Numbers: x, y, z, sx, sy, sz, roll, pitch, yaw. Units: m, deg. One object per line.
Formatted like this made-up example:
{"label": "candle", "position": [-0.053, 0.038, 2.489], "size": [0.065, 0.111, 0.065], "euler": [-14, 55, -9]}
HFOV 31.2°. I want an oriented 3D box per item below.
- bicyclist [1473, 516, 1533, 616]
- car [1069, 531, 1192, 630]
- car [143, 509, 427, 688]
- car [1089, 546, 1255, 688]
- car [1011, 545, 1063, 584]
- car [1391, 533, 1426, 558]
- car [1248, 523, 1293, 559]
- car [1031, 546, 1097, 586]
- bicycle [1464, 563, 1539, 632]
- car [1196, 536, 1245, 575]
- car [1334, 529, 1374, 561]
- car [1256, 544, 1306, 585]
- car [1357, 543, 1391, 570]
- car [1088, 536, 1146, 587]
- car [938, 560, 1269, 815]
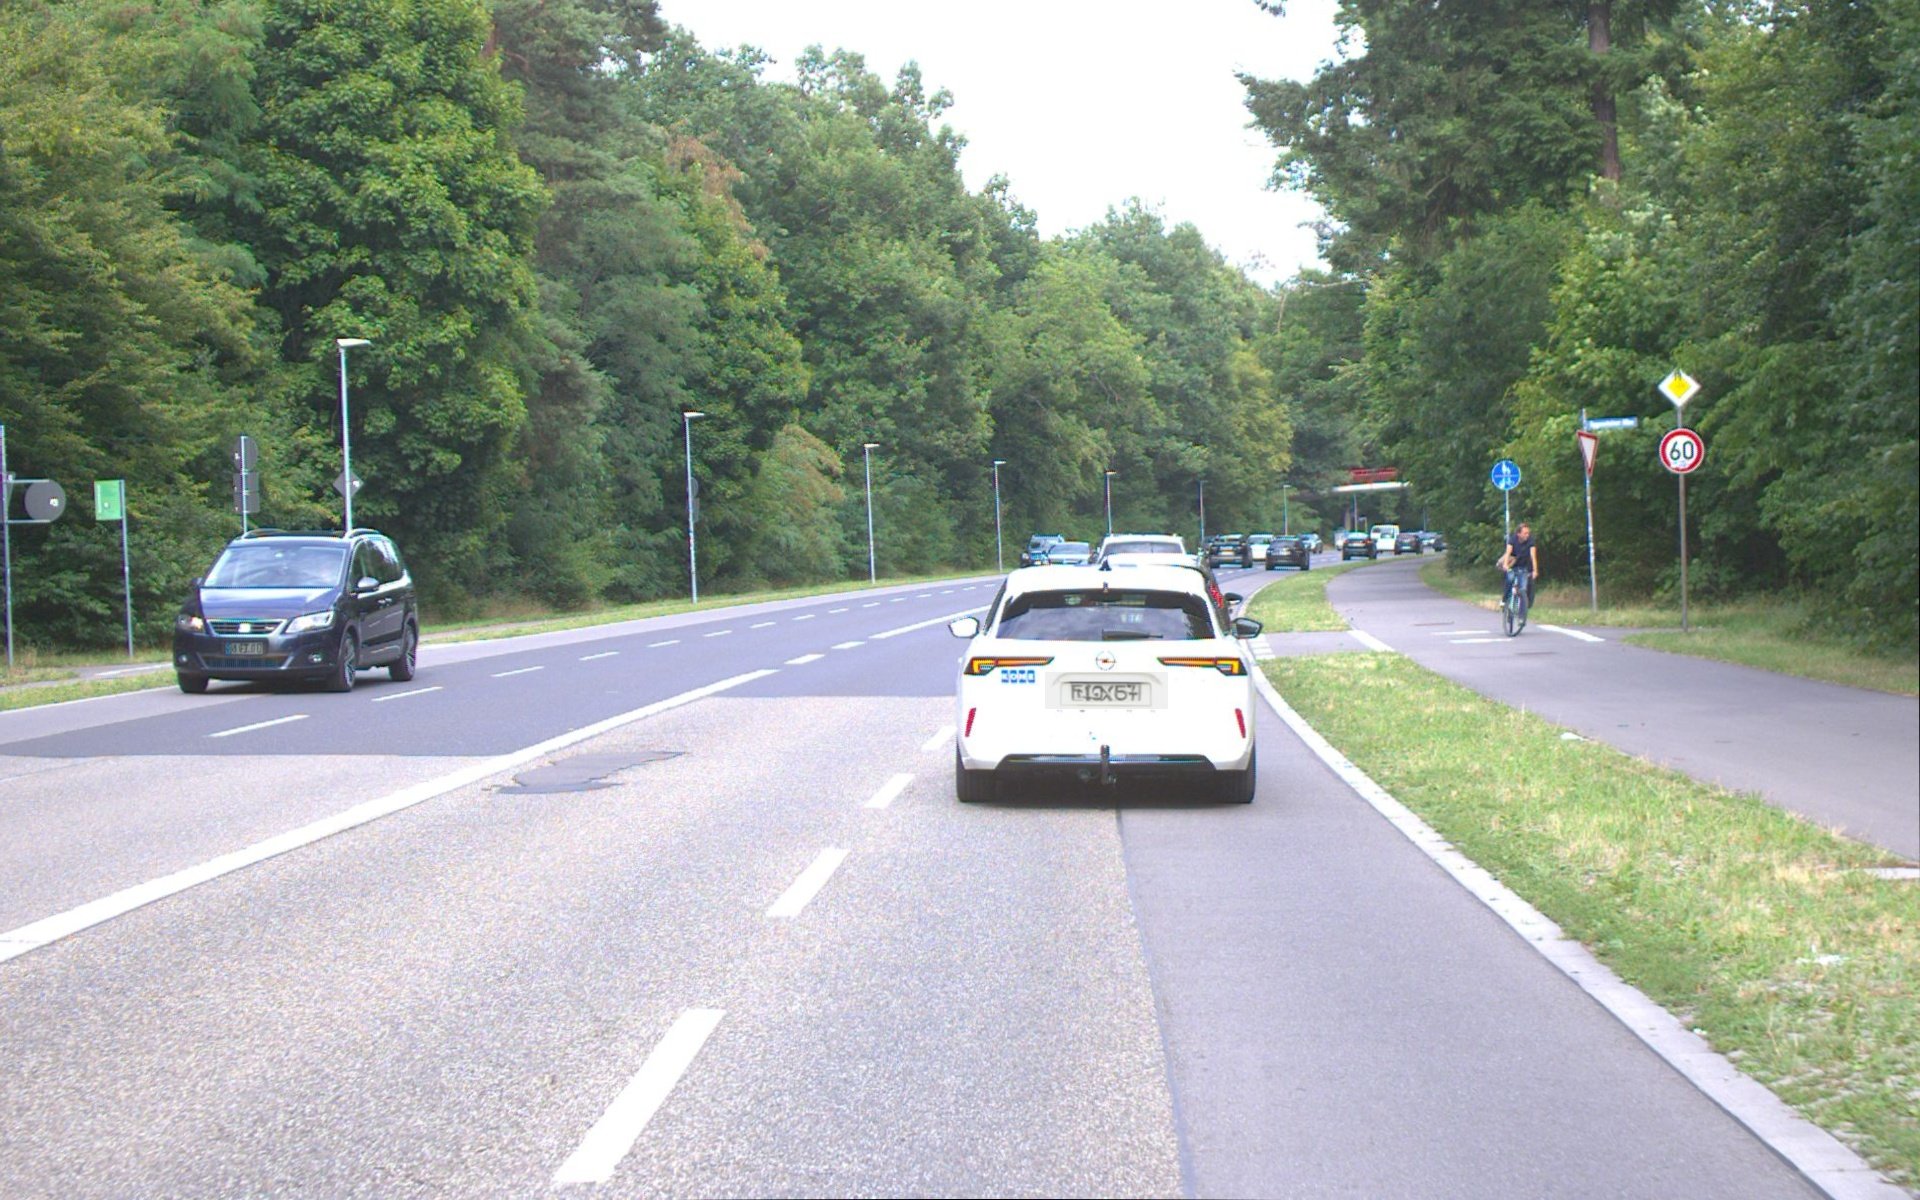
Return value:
{"label": "bicyclist", "position": [8.065, -0.502, 51.087], "size": [0.709, 1.465, 0.900], "euler": [-1, 1, 20]}
{"label": "car", "position": [2.930, -0.322, 58.743], "size": [1.994, 1.601, 3.999], "euler": [1, 0, 3]}
{"label": "car", "position": [-7.289, -0.017, 37.607], "size": [1.993, 1.785, 4.747], "euler": [1, 0, 2]}
{"label": "car", "position": [2.330, 0.174, 37.015], "size": [1.635, 1.415, 3.999], "euler": [1, 0, 5]}
{"label": "car", "position": [3.321, -1.506, 146.990], "size": [1.923, 1.649, 4.468], "euler": [0, 0, 5]}
{"label": "car", "position": [30.421, -3.690, 233.113], "size": [1.995, 1.700, 3.998], "euler": [0, 1, 13]}
{"label": "car", "position": [16.342, -3.101, 180.912], "size": [1.994, 1.777, 3.998], "euler": [1, 0, 10]}
{"label": "car", "position": [3.883, -1.243, 127.437], "size": [1.994, 1.430, 4.720], "euler": [0, 0, 7]}
{"label": "bicycle", "position": [8.058, -0.050, 51.072], "size": [0.709, 0.991, 2.179], "euler": [-1, 1, 19]}
{"label": "car", "position": [12.381, -2.095, 163.362], "size": [1.994, 1.777, 3.998], "euler": [1, 0, 9]}
{"label": "car", "position": [23.316, -3.231, 203.377], "size": [1.994, 1.777, 3.998], "euler": [1, 0, 11]}
{"label": "car", "position": [14.581, -1.597, 156.202], "size": [1.994, 1.777, 3.998], "euler": [1, 0, 9]}
{"label": "car", "position": [29.889, -3.132, 247.988], "size": [1.889, 1.809, 3.997], "euler": [1, 0, 15]}
{"label": "car", "position": [5.221, -1.260, 113.752], "size": [1.730, 1.582, 3.999], "euler": [1, 0, 5]}
{"label": "car", "position": [0.948, 0.479, 21.610], "size": [1.836, 1.405, 4.490], "euler": [1, 0, 4]}
